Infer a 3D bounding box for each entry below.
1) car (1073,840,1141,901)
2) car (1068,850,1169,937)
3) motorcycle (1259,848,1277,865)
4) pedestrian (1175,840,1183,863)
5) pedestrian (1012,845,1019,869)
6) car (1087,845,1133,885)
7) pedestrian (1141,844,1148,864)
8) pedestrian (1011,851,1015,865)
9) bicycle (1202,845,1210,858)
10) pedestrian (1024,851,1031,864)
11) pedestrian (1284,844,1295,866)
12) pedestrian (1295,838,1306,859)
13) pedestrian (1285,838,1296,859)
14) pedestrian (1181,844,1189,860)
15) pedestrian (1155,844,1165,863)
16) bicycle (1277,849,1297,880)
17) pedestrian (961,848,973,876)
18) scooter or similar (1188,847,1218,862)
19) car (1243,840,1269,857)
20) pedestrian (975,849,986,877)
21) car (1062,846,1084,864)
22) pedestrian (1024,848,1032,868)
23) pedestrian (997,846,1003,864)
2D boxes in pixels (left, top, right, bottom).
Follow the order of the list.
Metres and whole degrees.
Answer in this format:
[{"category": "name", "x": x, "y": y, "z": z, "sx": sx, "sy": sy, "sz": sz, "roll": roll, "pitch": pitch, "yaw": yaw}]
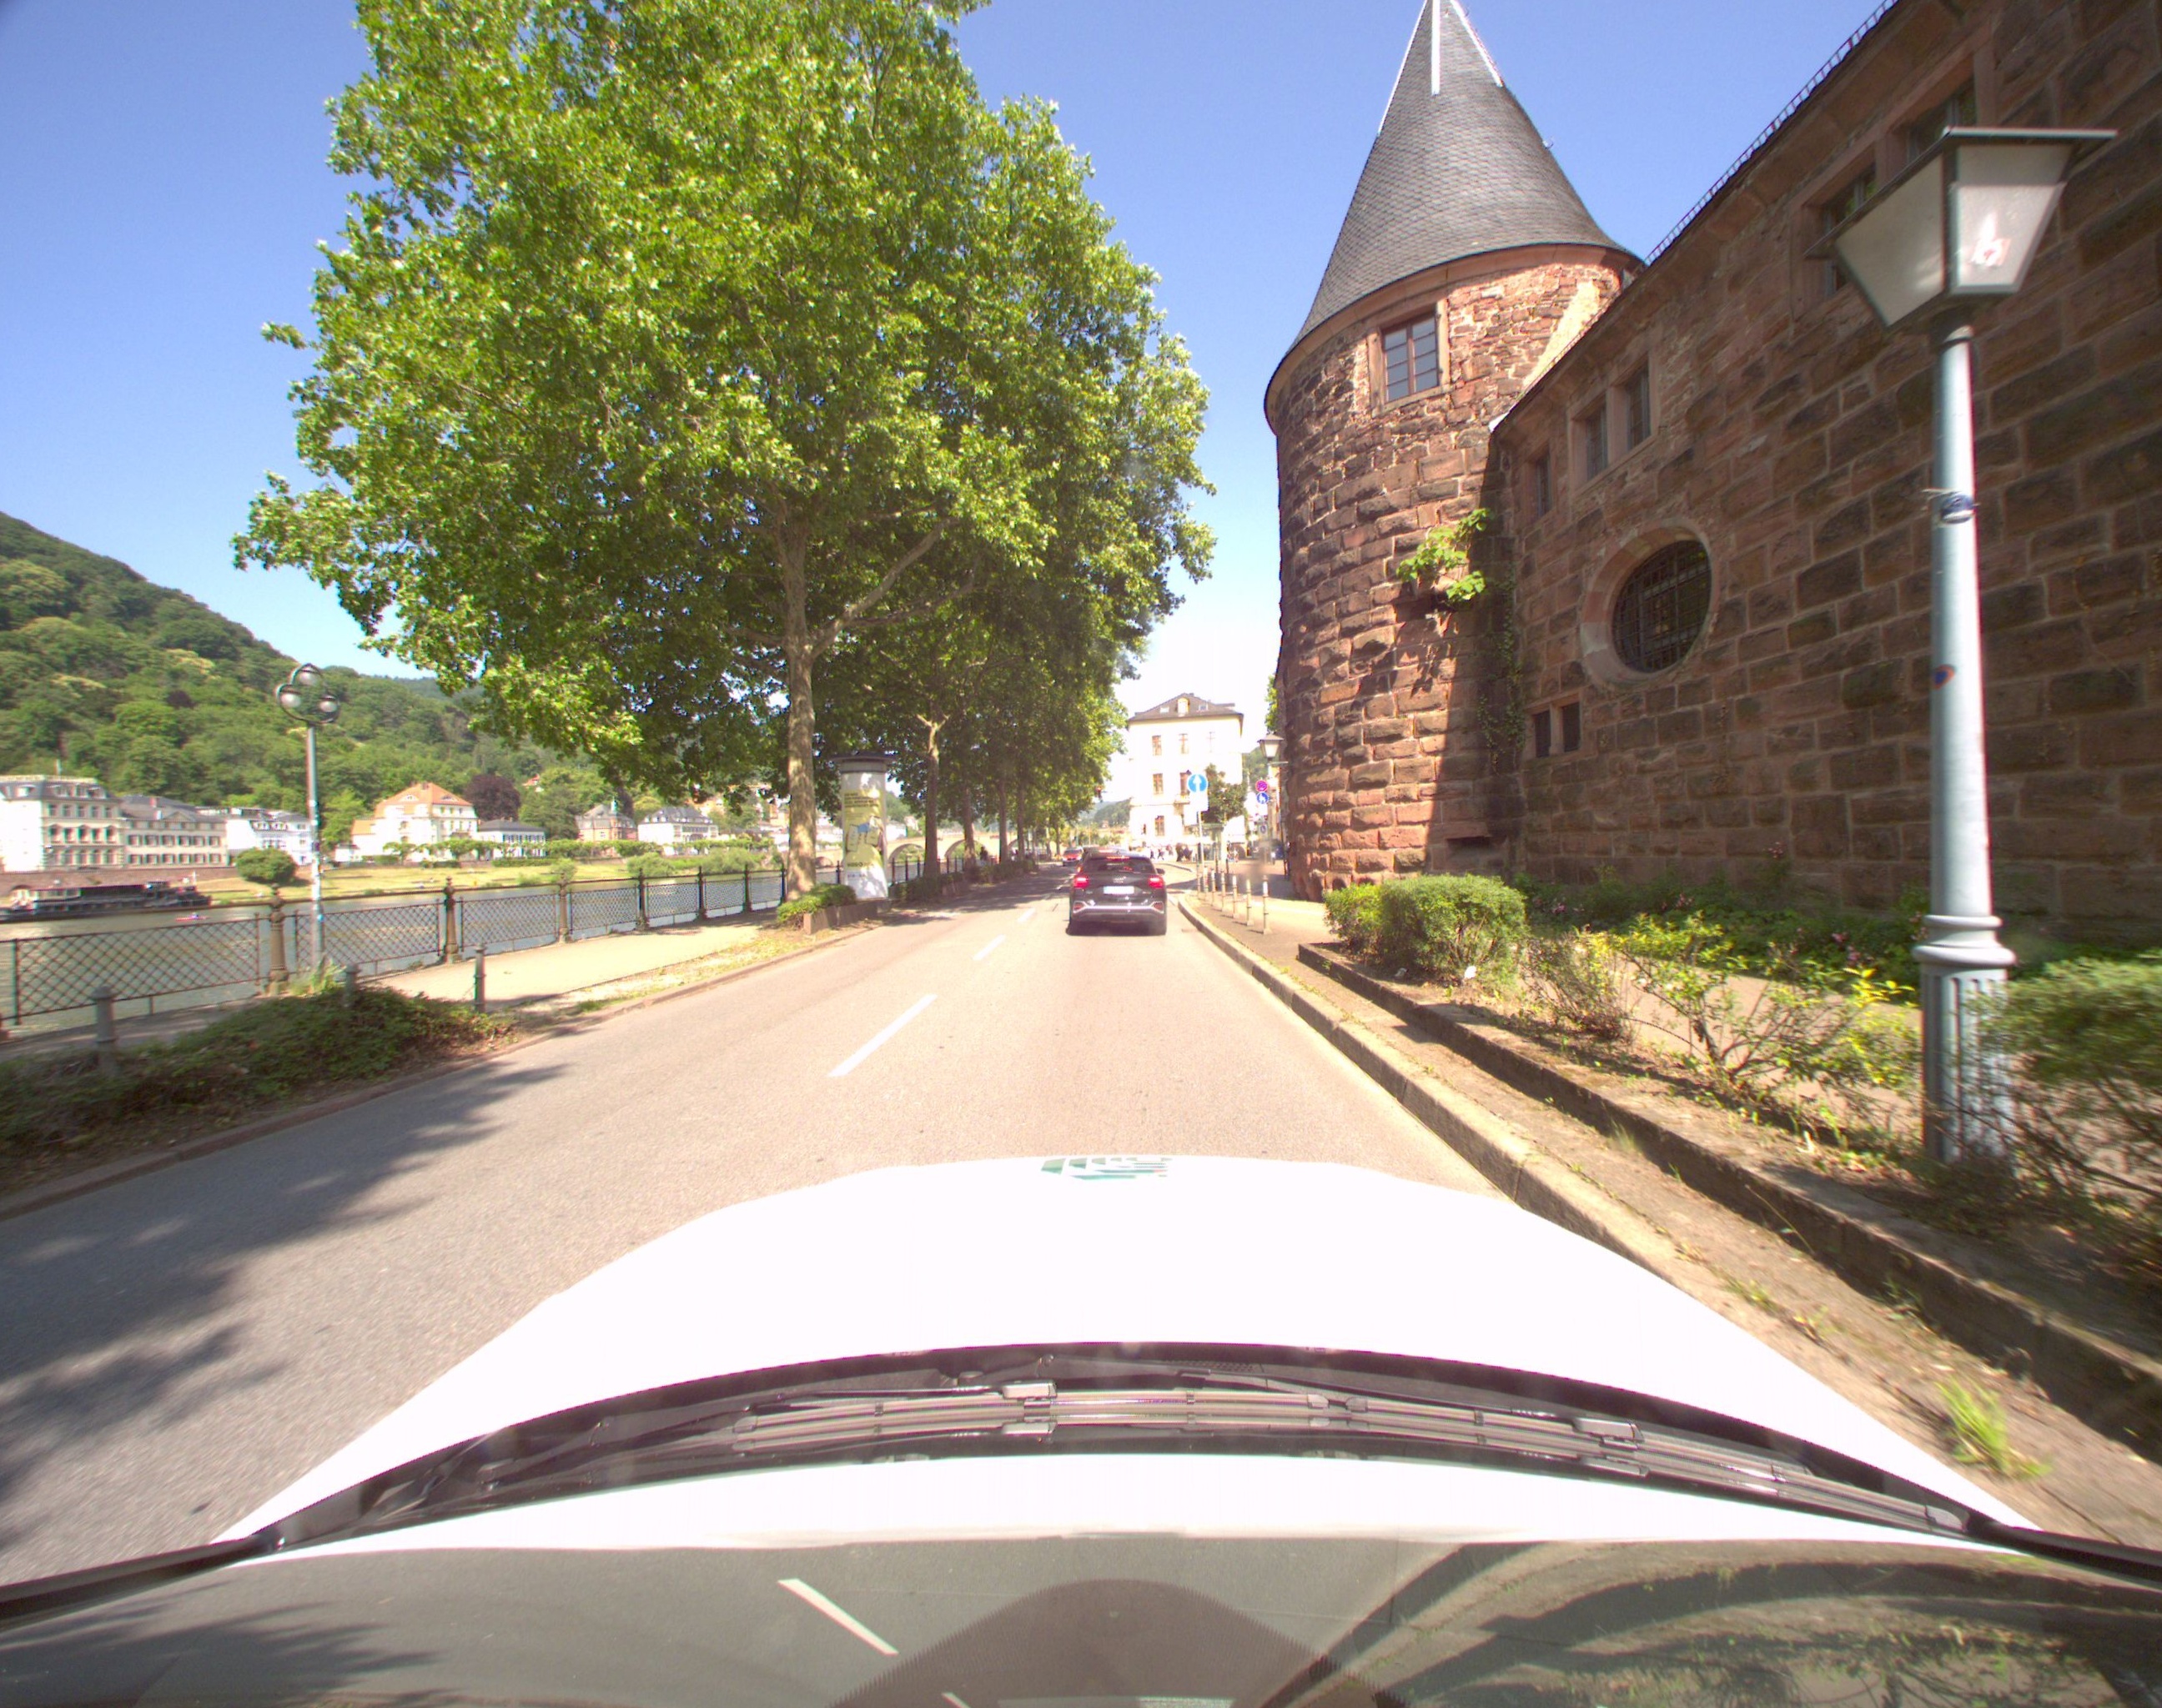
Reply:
[{"category": "car", "x": 0.795, "y": 0.441, "z": 24.181, "sx": 1.794, "sy": 1.562, "sz": 3.718, "roll": -3, "pitch": 0, "yaw": 2}, {"category": "car", "x": 0.682, "y": 0.669, "z": 15.936, "sx": 1.742, "sy": 1.494, "sz": 3.630, "roll": 0, "pitch": 0, "yaw": 1}, {"category": "motorcycle", "x": 9.670, "y": 0.099, "z": 42.142, "sx": 0.481, "sy": 0.818, "sz": 2.281, "roll": -3, "pitch": 0, "yaw": 2}, {"category": "pedestrian", "x": 7.139, "y": -0.192, "z": 59.360, "sx": 0.555, "sy": 1.633, "sz": 0.660, "roll": 0, "pitch": 0, "yaw": 3}, {"category": "pedestrian", "x": -5.606, "y": 0.260, "z": 70.056, "sx": 0.499, "sy": 1.958, "sz": 0.438, "roll": -3, "pitch": 0, "yaw": -5}, {"category": "car", "x": 1.236, "y": 0.405, "z": 34.373, "sx": 1.794, "sy": 1.523, "sz": 3.718, "roll": -2, "pitch": 0, "yaw": 2}, {"category": "pedestrian", "x": 5.109, "y": 0.010, "z": 65.226, "sx": 0.555, "sy": 1.557, "sz": 0.660, "roll": 0, "pitch": 0, "yaw": 3}, {"category": "pedestrian", "x": -6.788, "y": 0.432, "z": 81.489, "sx": 0.408, "sy": 1.425, "sz": 0.457, "roll": 0, "pitch": 0, "yaw": -2}, {"category": "bicycle", "x": 9.190, "y": -0.166, "z": 59.831, "sx": 0.449, "sy": 0.974, "sz": 1.400, "roll": 0, "pitch": 0, "yaw": 2}, {"category": "pedestrian", "x": -4.994, "y": 0.322, "z": 75.488, "sx": 0.588, "sy": 1.278, "sz": 0.525, "roll": 0, "pitch": 0, "yaw": 2}, {"category": "pedestrian", "x": 14.425, "y": 0.048, "z": 56.314, "sx": 0.655, "sy": 1.493, "sz": 0.548, "roll": 0, "pitch": 0, "yaw": 3}, {"category": "pedestrian", "x": 15.932, "y": -0.407, "z": 59.019, "sx": 0.655, "sy": 1.517, "sz": 0.627, "roll": 0, "pitch": 0, "yaw": 3}, {"category": "pedestrian", "x": 15.187, "y": -0.409, "z": 59.082, "sx": 0.655, "sy": 1.517, "sz": 0.548, "roll": 0, "pitch": 0, "yaw": 3}, {"category": "pedestrian", "x": 7.700, "y": -0.166, "z": 60.063, "sx": 0.544, "sy": 1.201, "sz": 0.523, "roll": 0, "pitch": 0, "yaw": 3}, {"category": "pedestrian", "x": 6.647, "y": -0.037, "z": 68.536, "sx": 0.744, "sy": 1.557, "sz": 0.589, "roll": 0, "pitch": 0, "yaw": 3}, {"category": "bicycle", "x": 7.281, "y": 0.356, "z": 28.881, "sx": 0.493, "sy": 1.030, "sz": 2.056, "roll": -3, "pitch": -1, "yaw": 10}, {"category": "pedestrian", "x": -7.022, "y": 0.467, "z": 50.057, "sx": 0.643, "sy": 1.717, "sz": 0.665, "roll": 0, "pitch": 0, "yaw": -1}, {"category": "scooter or similar", "x": 7.715, "y": 0.029, "z": 51.669, "sx": 1.838, "sy": 0.963, "sz": 0.429, "roll": 0, "pitch": 0, "yaw": 1}, {"category": "car", "x": 18.004, "y": -0.518, "z": 84.061, "sx": 1.986, "sy": 1.716, "sz": 4.002, "roll": 0, "pitch": 0, "yaw": 2}, {"category": "pedestrian", "x": -6.196, "y": 0.543, "z": 50.039, "sx": 0.562, "sy": 1.741, "sz": 0.665, "roll": -1, "pitch": 0, "yaw": -1}, {"category": "car", "x": -0.721, "y": 0.107, "z": 74.554, "sx": 1.608, "sy": 1.523, "sz": 3.480, "roll": -3, "pitch": 0, "yaw": 4}, {"category": "pedestrian", "x": -4.483, "y": 0.361, "z": 69.166, "sx": 0.517, "sy": 1.637, "sz": 0.437, "roll": -3, "pitch": 0, "yaw": -10}, {"category": "pedestrian", "x": -7.235, "y": 0.088, "z": 73.033, "sx": 0.496, "sy": 1.537, "sz": 0.678, "roll": 0, "pitch": 0, "yaw": -5}]
